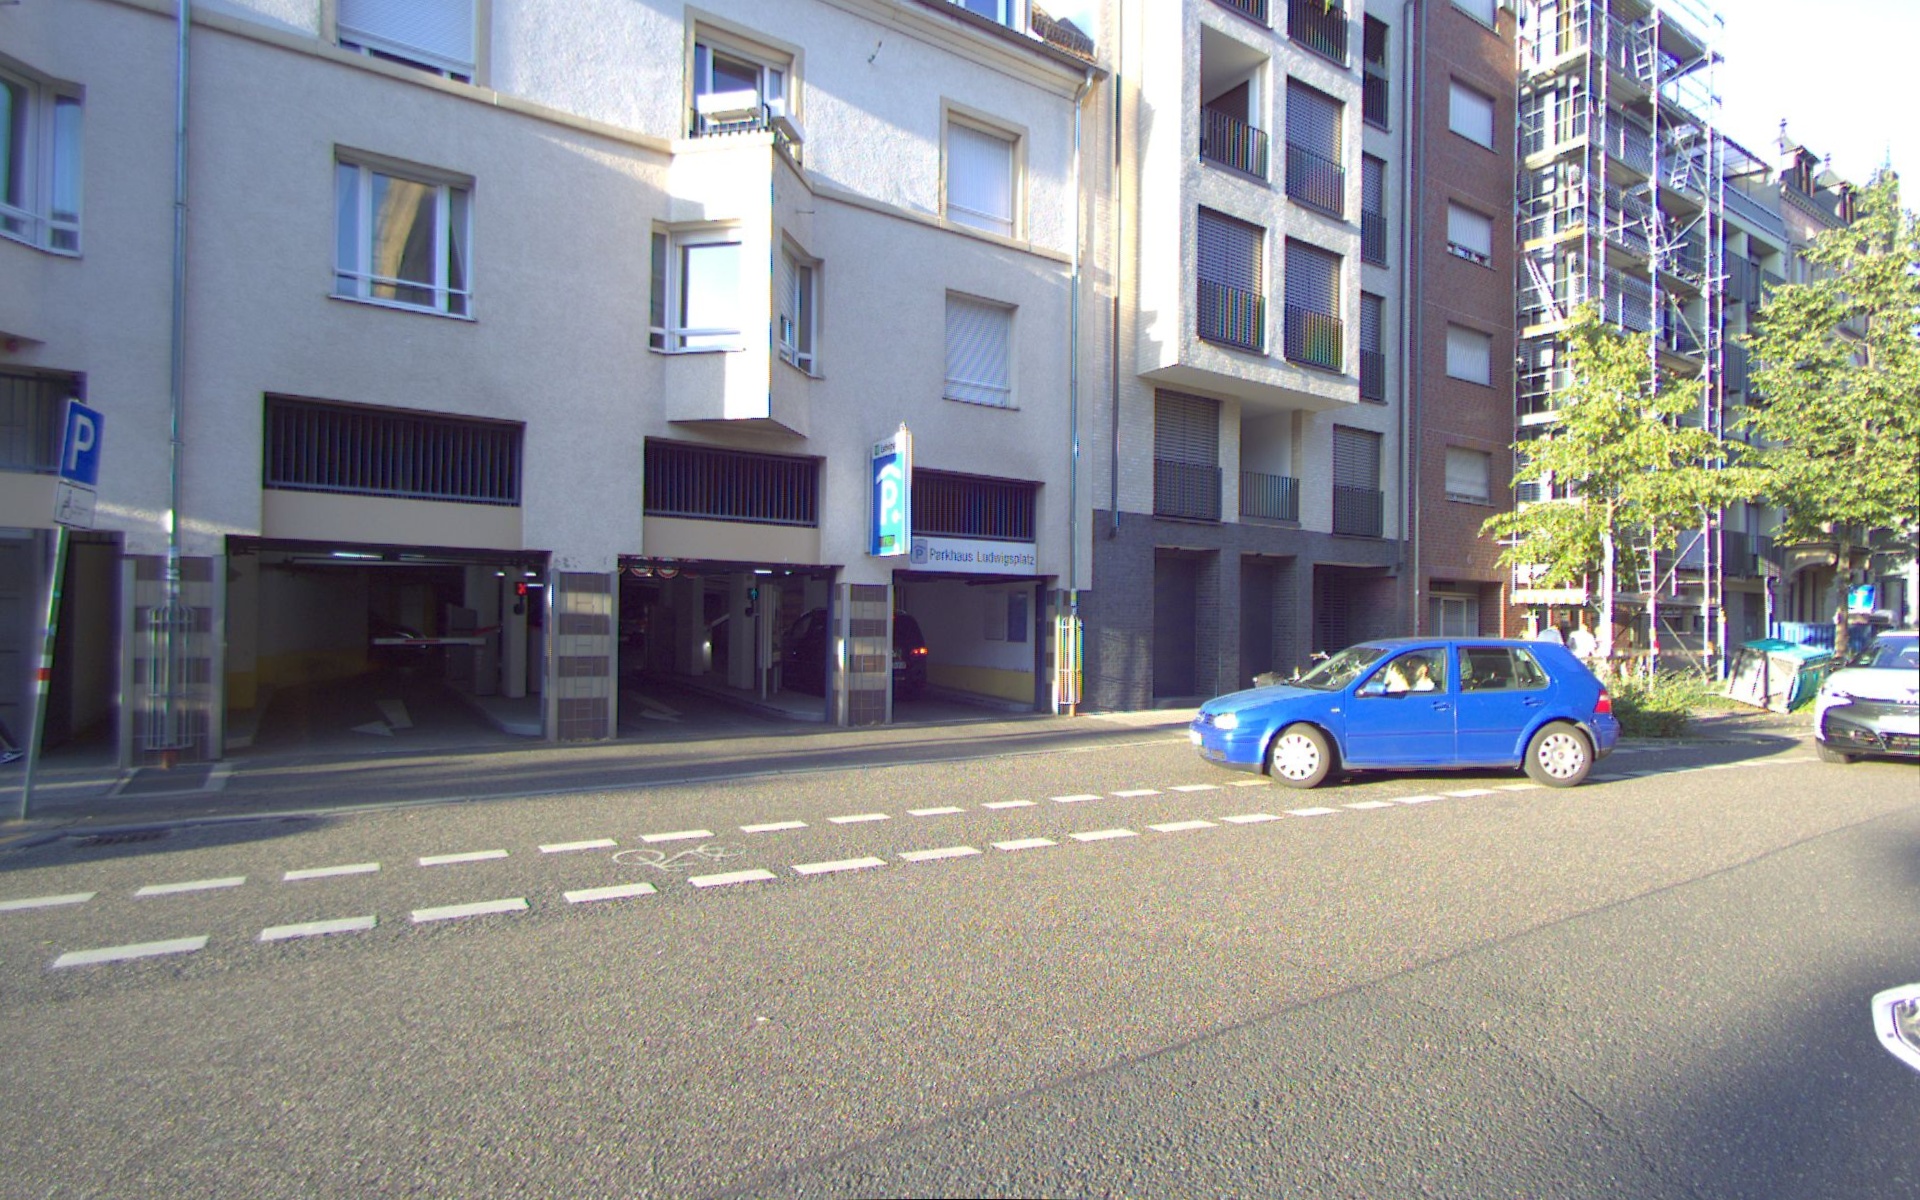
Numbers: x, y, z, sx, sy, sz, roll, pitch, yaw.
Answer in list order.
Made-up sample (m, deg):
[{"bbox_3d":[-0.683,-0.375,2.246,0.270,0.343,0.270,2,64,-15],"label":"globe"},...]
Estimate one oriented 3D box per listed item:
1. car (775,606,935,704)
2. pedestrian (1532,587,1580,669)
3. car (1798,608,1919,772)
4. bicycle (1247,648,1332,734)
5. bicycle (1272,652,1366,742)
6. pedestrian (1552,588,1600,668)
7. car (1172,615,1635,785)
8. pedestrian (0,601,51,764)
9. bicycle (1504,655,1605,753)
[{"bbox_3d":[-2.079,0.948,18.962,1.542,1.639,3.849,1,-1,-30],"label":"car"},{"bbox_3d":[13.448,0.641,22.669,0.649,1.807,0.737,1,-2,-32],"label":"pedestrian"},{"bbox_3d":[11.758,1.014,11.966,4.283,1.719,1.859,2,-4,-38],"label":"car"},{"bbox_3d":[4.817,1.304,14.647,1.390,1.199,0.385,2,-1,-33],"label":"bicycle"},{"bbox_3d":[5.081,1.347,14.176,1.535,1.205,0.384,2,-1,-33],"label":"bicycle"},{"bbox_3d":[14.211,0.644,23.176,0.650,1.807,0.737,1,-2,-34],"label":"pedestrian"},{"bbox_3d":[4.394,0.986,10.353,4.039,1.583,1.694,0,-2,-3],"label":"car"},{"bbox_3d":[-9.625,0.809,9.919,0.523,1.593,0.778,0,-1,20],"label":"pedestrian"},{"bbox_3d":[7.827,1.336,13.206,1.535,1.194,0.504,2,-1,-33],"label":"bicycle"}]
